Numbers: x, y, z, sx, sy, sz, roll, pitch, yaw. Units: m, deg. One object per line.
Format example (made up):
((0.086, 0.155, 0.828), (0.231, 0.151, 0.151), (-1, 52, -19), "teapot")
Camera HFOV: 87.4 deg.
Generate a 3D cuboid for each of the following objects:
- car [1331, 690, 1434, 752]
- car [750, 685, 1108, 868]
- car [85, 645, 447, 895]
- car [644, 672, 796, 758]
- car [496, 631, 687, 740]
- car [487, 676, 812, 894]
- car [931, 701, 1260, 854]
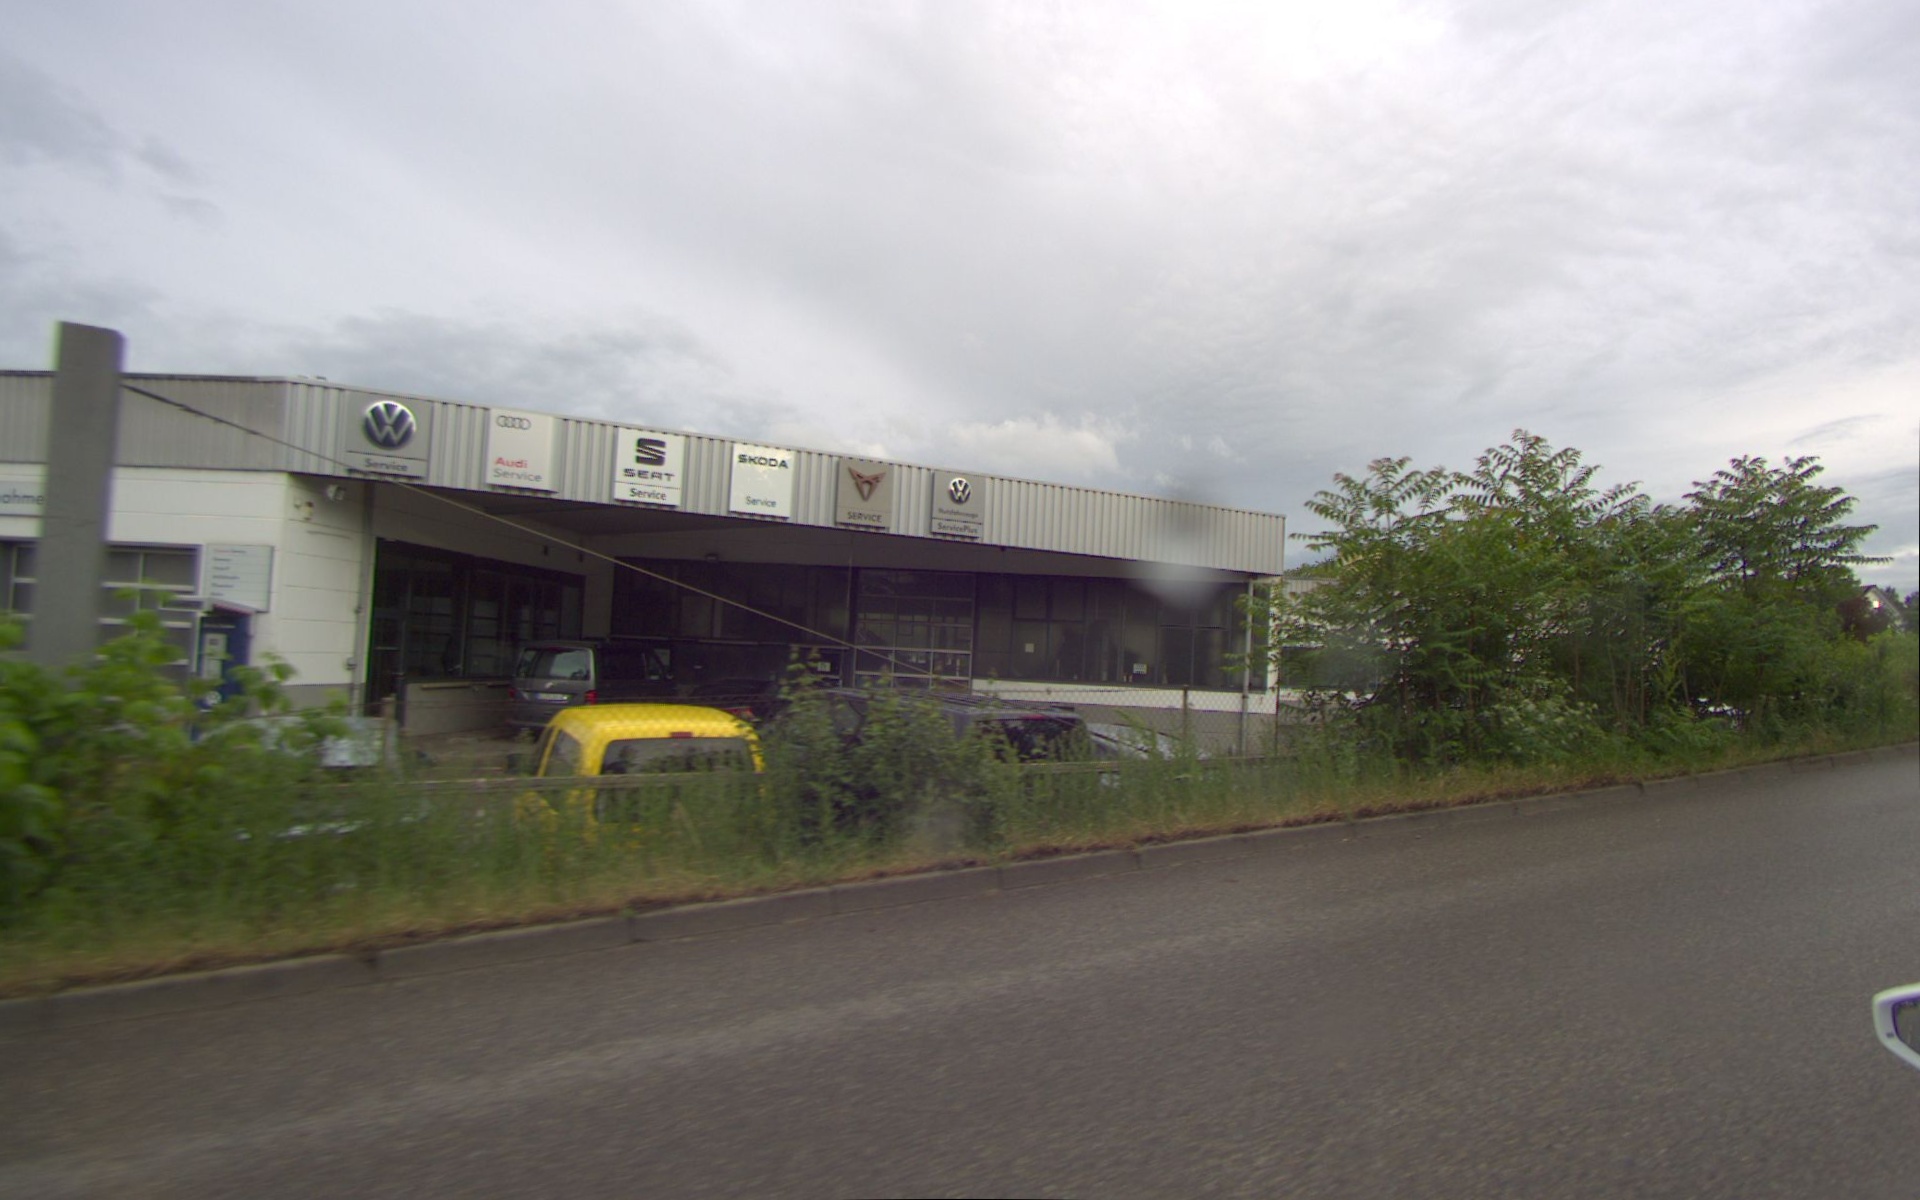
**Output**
((13.781, 3.931, 33.055), (1.830, 1.826, 4.647), (-3, -6, 7), "car")
((-0.522, 1.579, 10.141), (1.785, 1.227, 4.039), (1, -2, -33), "car")
((-5.425, 1.087, 8.105), (1.855, 1.386, 4.202), (1, -2, -33), "car")
((-4.779, 2.271, 20.617), (1.914, 1.434, 4.024), (0, -2, 4), "car")
((-7.498, 1.763, 20.995), (1.948, 1.985, 4.490), (1, -4, 5), "car")
((-3.008, 1.444, 9.121), (1.785, 1.308, 4.039), (1, -2, -33), "car")
((1.455, 1.993, 12.218), (1.785, 1.227, 4.039), (1, -2, -33), "car")
